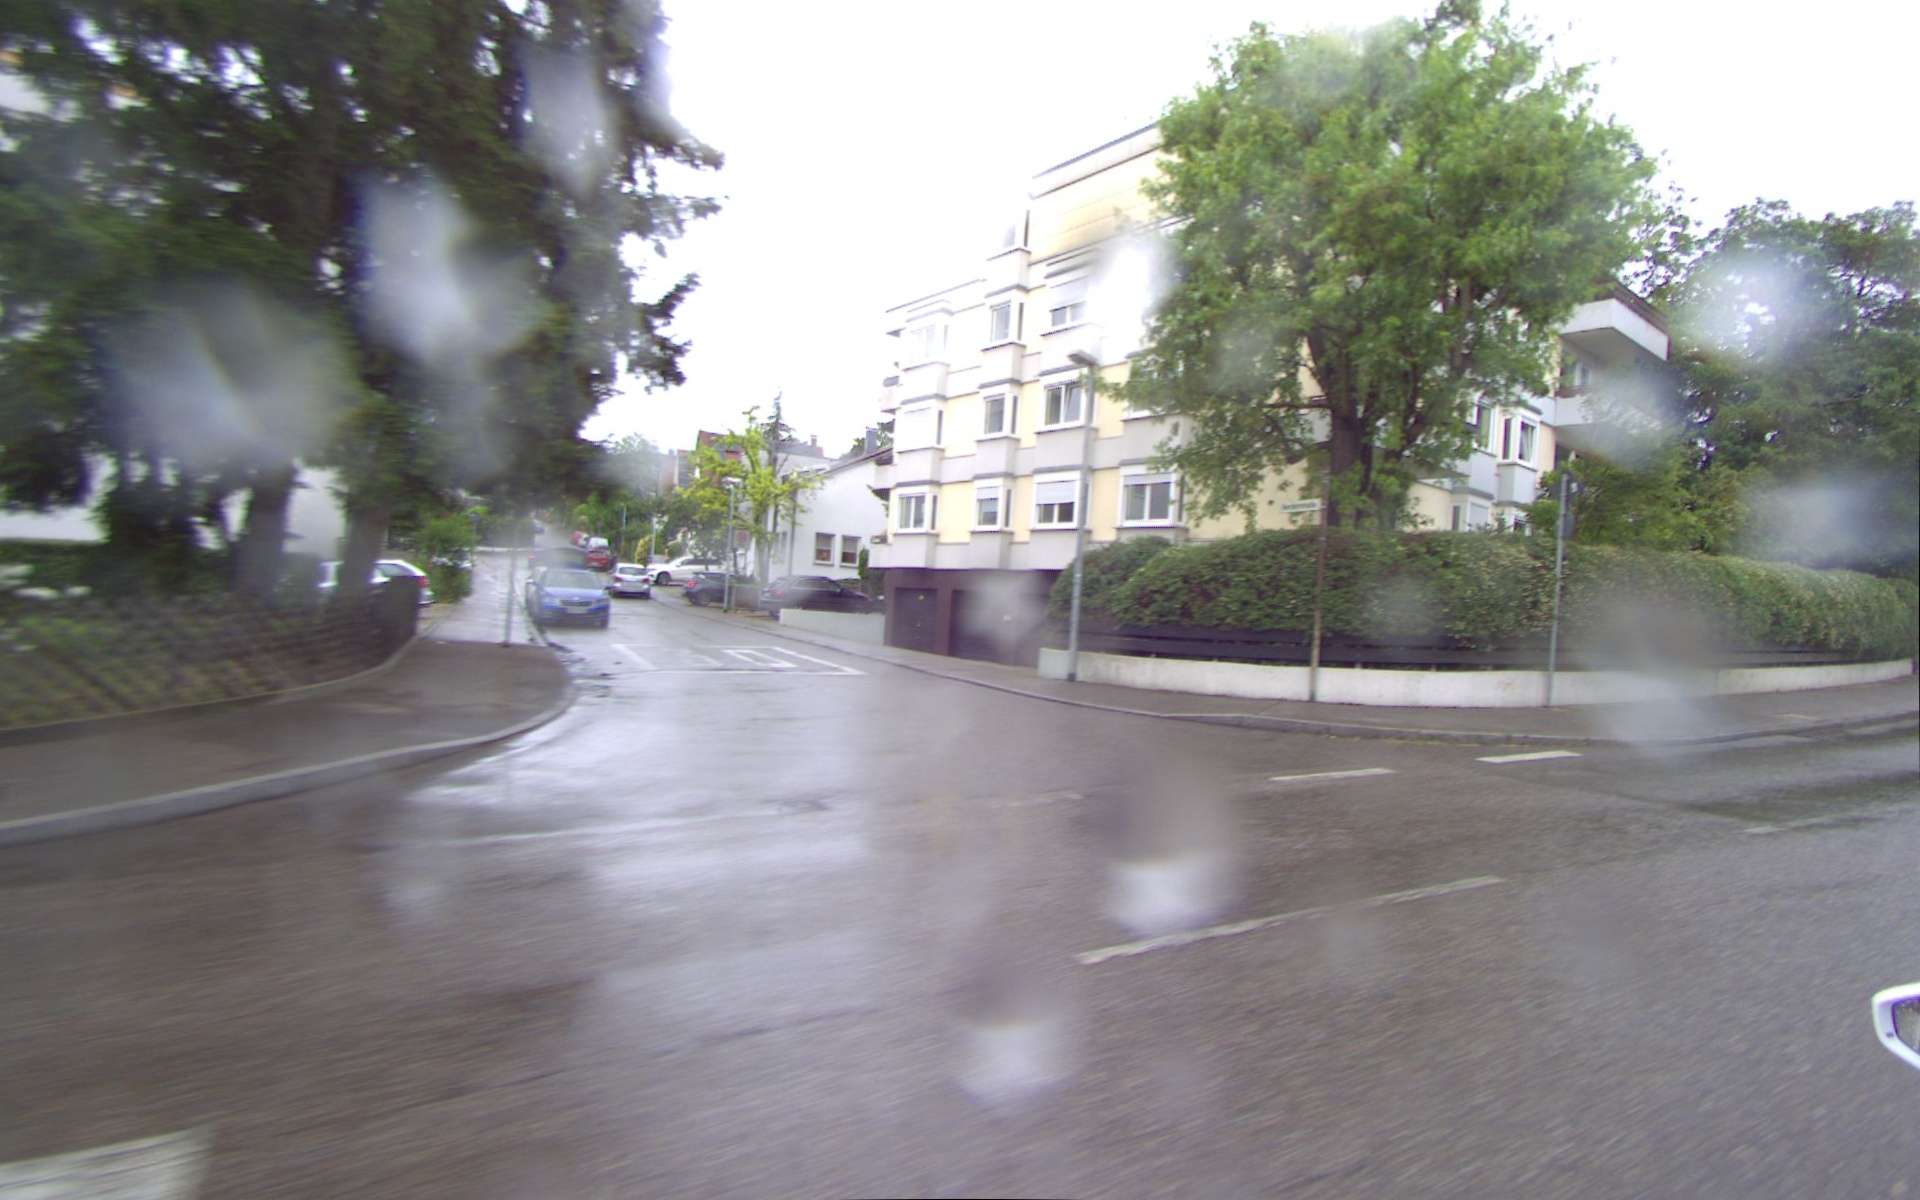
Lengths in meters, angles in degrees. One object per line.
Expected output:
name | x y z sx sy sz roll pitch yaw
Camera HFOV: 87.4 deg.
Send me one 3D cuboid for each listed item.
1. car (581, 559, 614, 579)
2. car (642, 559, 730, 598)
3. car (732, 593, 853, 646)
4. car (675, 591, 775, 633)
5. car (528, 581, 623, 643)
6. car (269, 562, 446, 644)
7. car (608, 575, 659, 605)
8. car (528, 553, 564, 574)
car | -26.844 -2.265 74.499 1.792 1.351 3.377 1 0 -11
car | -16.612 -1.313 60.992 4.834 2.180 1.986 2 1 -27
car | -6.174 0.719 37.021 3.953 1.832 1.984 1 1 -30
car | -10.585 0.539 45.209 3.953 1.750 1.984 1 1 -30
car | -10.201 0.289 26.522 1.803 1.535 3.356 1 0 -30
car | -14.040 0.084 23.459 3.353 1.789 1.805 1 0 -38
car | -15.769 -0.496 48.454 1.801 1.351 3.360 1 0 -27
car | -29.334 -2.577 71.227 1.793 1.351 3.374 1 0 -14
